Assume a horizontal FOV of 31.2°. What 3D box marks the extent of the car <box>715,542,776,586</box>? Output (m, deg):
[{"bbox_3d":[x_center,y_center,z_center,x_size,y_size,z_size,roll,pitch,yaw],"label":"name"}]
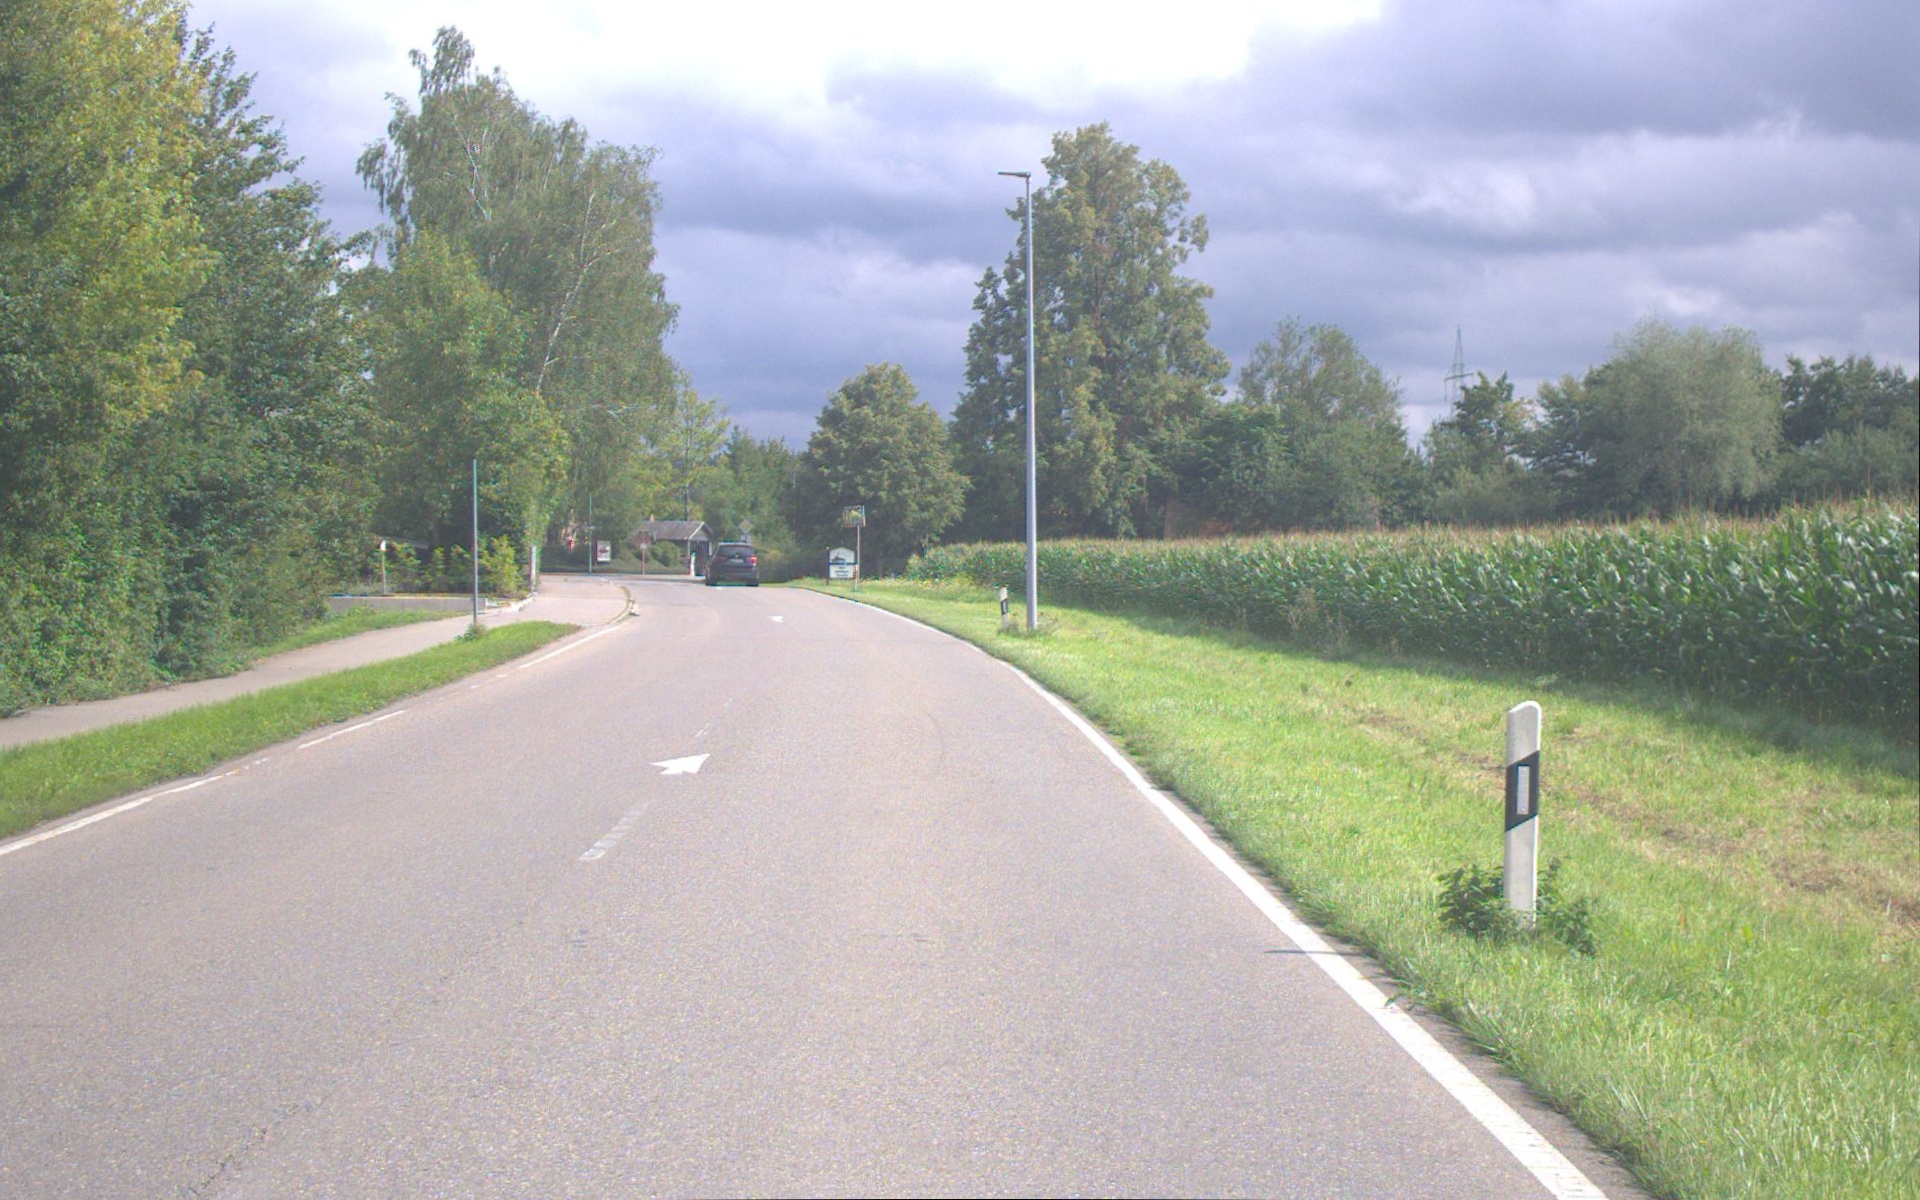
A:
[{"bbox_3d":[-8.209,-1.375,131.402,1.993,1.579,4.001,2,0,-7],"label":"car"}]
